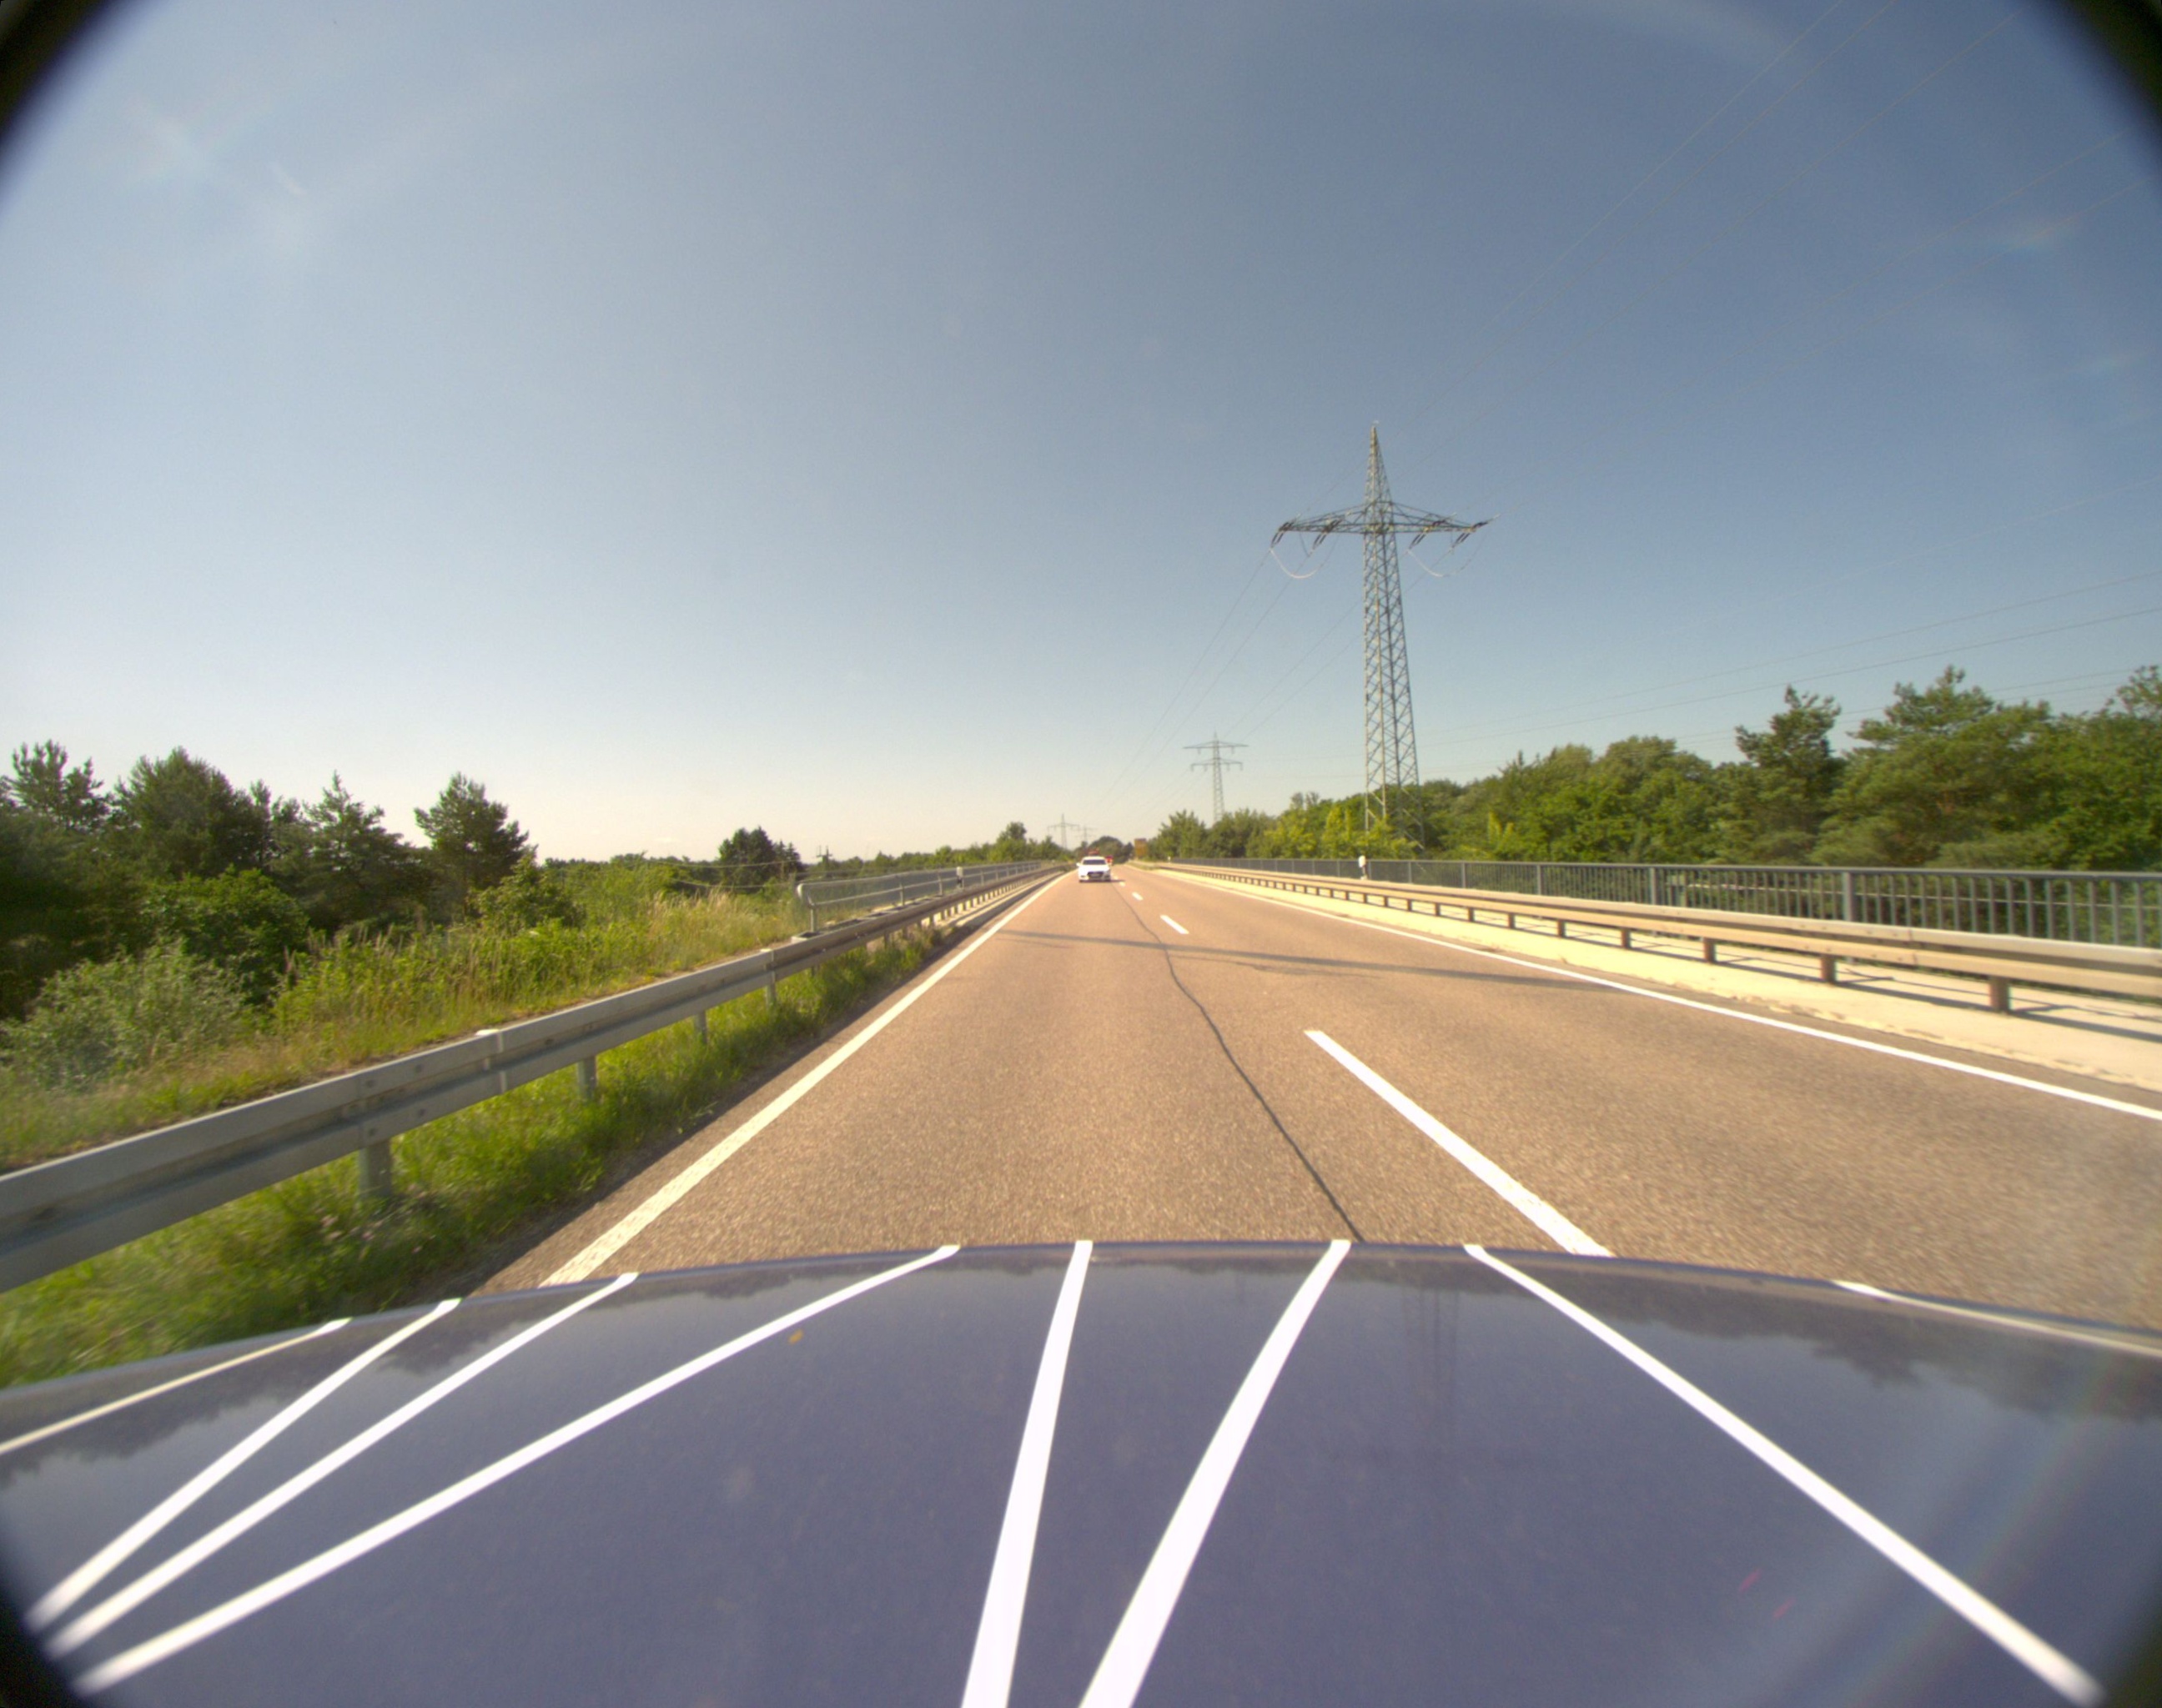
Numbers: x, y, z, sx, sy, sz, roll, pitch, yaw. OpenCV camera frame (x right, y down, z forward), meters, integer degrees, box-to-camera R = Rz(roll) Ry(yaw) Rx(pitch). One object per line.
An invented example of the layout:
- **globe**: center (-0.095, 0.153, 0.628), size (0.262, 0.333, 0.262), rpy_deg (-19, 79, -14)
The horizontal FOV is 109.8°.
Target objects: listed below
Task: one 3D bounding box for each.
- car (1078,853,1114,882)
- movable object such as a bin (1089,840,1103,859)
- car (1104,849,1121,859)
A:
- **car**: center (0.851, 0.766, 43.687), size (1.923, 1.496, 4.794), rpy_deg (-2, 0, 0)
- **movable object such as a bin**: center (3.276, -0.921, 163.753), size (2.760, 3.816, 9.446), rpy_deg (-2, 0, 2)
- **car**: center (5.890, 0.020, 143.577), size (2.124, 1.934, 5.025), rpy_deg (-2, 0, 15)
